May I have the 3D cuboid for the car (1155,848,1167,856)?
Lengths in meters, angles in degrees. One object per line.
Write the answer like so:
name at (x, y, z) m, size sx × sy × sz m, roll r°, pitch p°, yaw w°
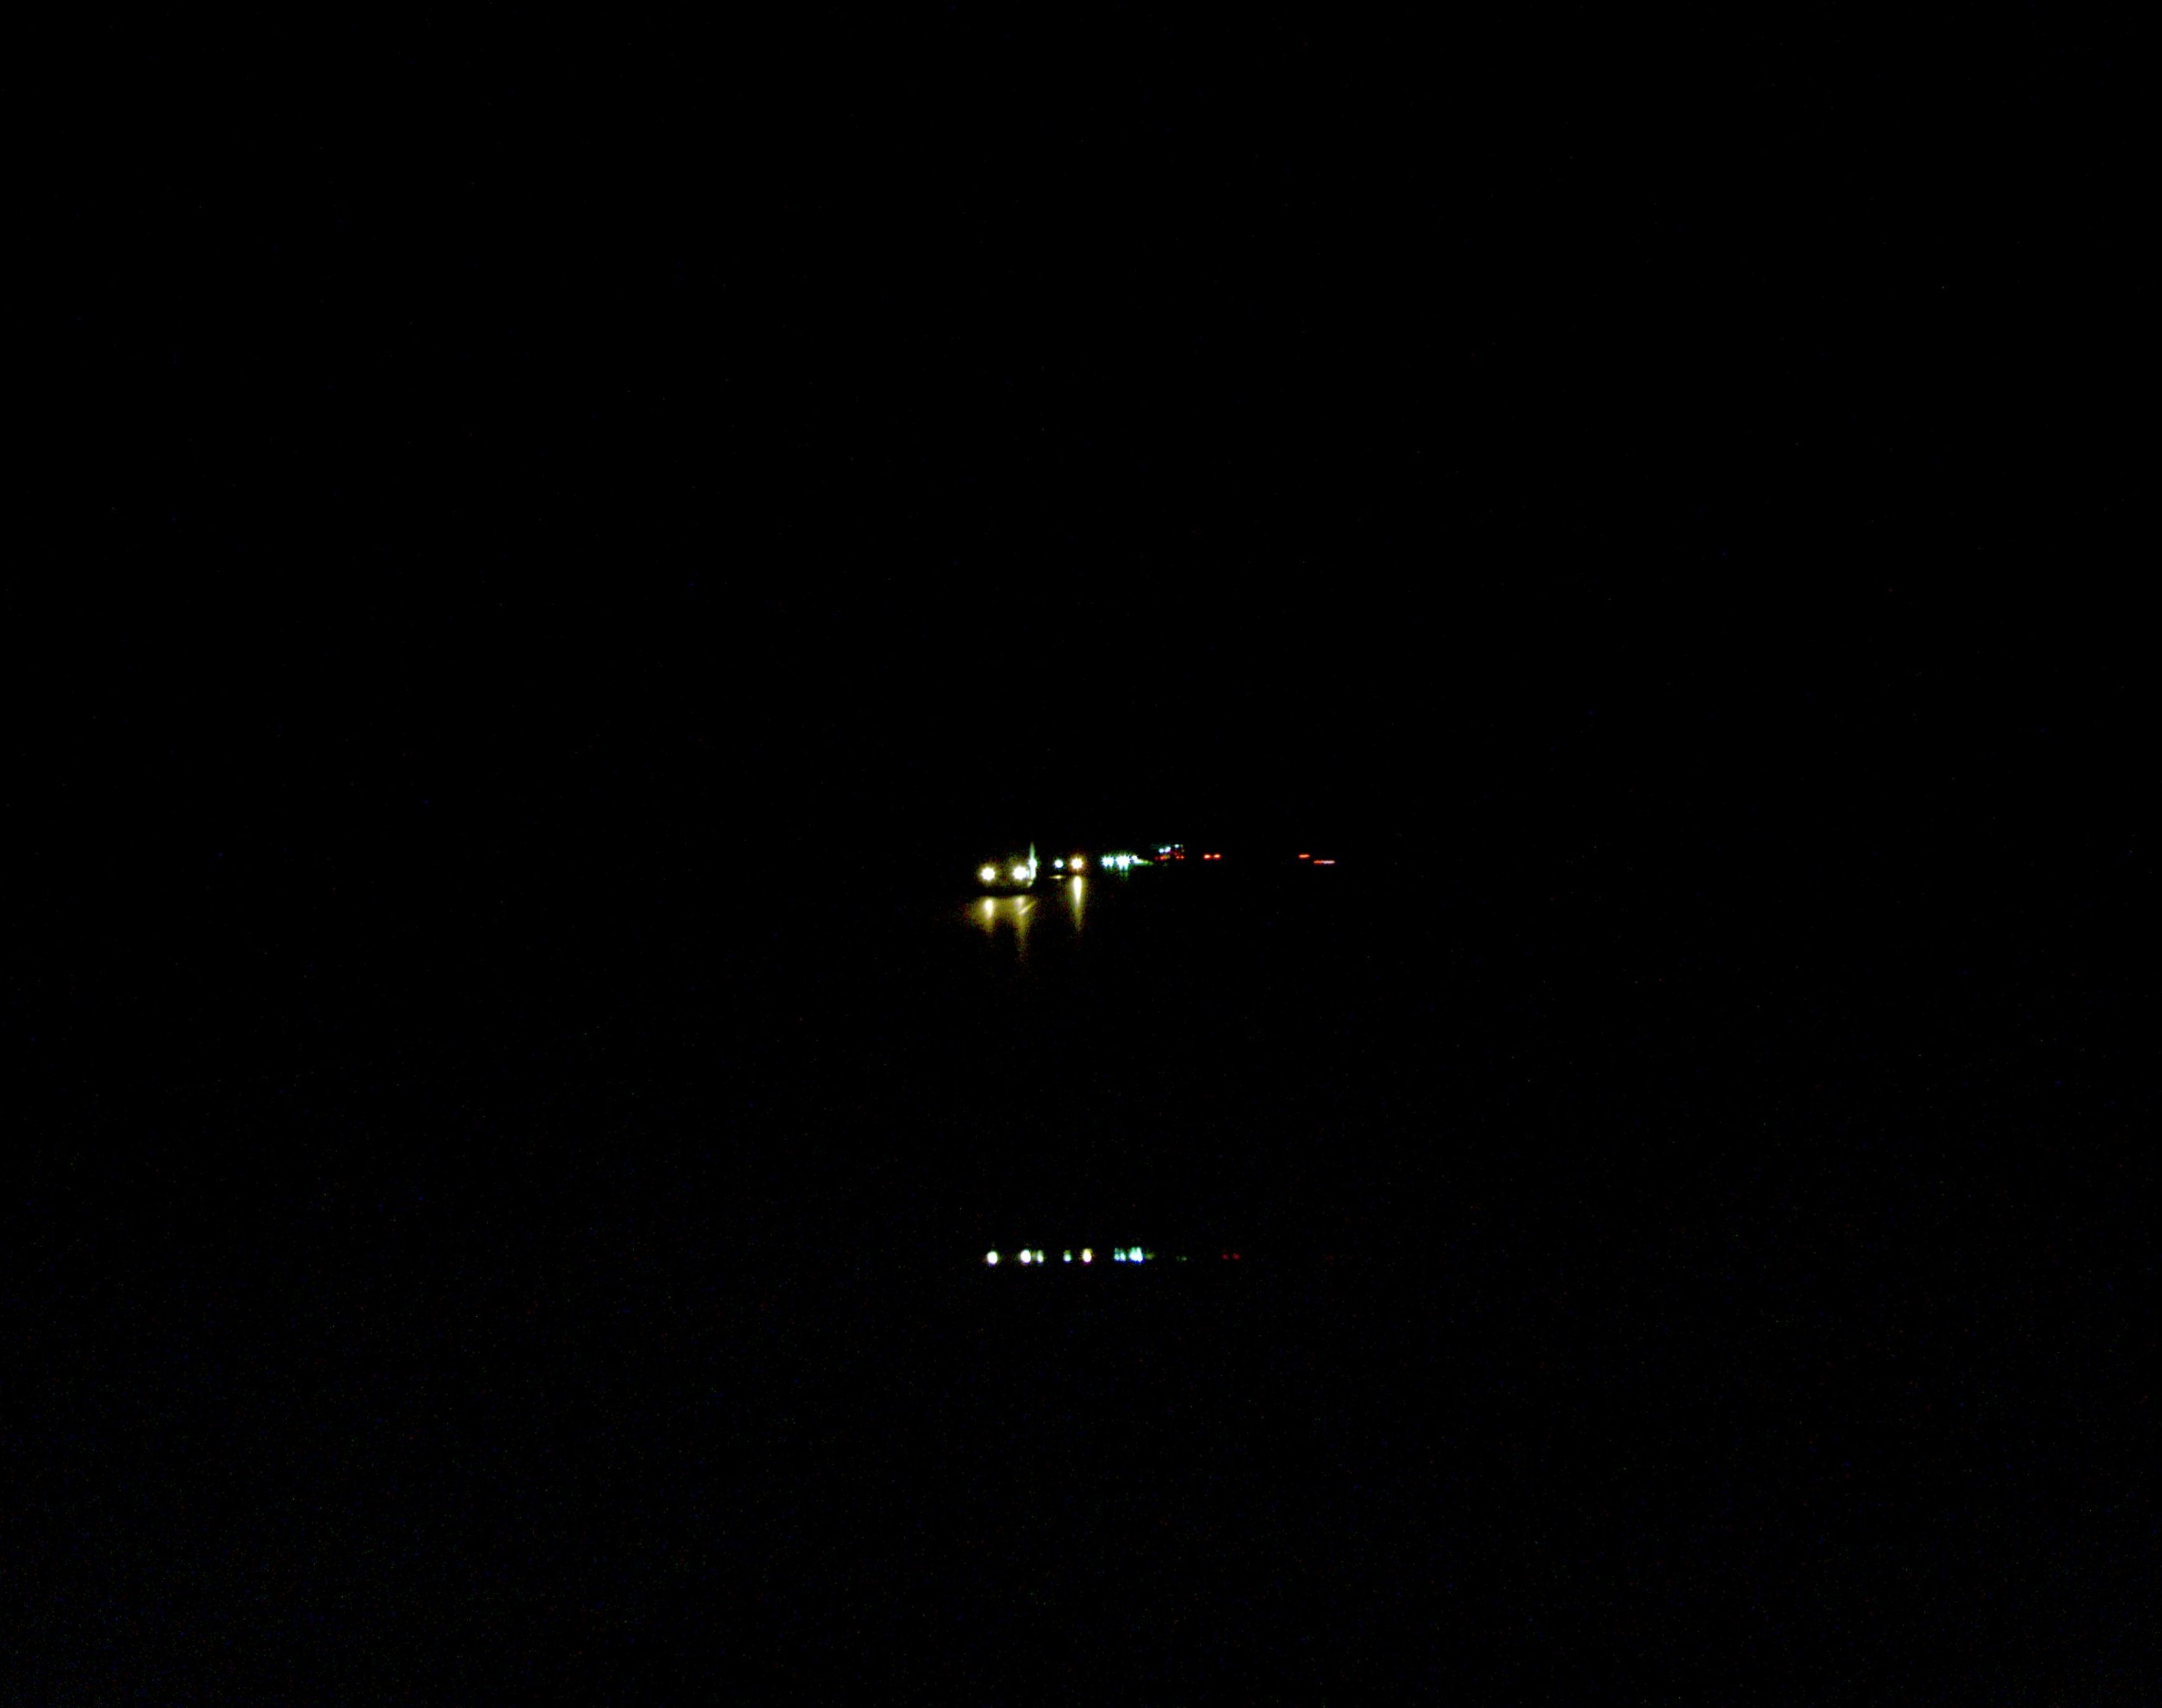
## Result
car at (17.552, -0.364, 167.288) m, size 2.249 × 1.709 × 4.888 m, roll -2°, pitch 0°, yaw 2°

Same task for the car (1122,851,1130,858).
car at (12.235, 0.134, 207.738) m, size 1.998 × 1.734 × 3.999 m, roll -2°, pitch 2°, yaw 2°

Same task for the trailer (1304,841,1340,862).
trailer at (20.593, -0.209, 65.105) m, size 1.901 × 1.736 × 3.845 m, roll -2°, pitch 0°, yaw 1°

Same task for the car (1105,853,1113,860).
car at (7.534, 0.733, 202.242) m, size 1.998 × 1.762 × 3.999 m, roll -2°, pitch 2°, yaw 2°

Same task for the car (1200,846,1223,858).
car at (18.213, -0.268, 106.206) m, size 2.250 × 1.588 × 4.887 m, roll -2°, pitch 0°, yaw 0°

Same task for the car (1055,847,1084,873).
car at (-0.895, 0.483, 64.205) m, size 2.120 × 1.989 × 5.664 m, roll -2°, pitch 0°, yaw 2°

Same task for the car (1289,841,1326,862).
car at (20.671, -0.226, 69.505) m, size 1.918 × 1.736 × 4.881 m, roll -2°, pitch 0°, yaw 0°

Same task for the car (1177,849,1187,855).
car at (28.985, -0.545, 218.090) m, size 2.249 × 1.658 × 4.888 m, roll -2°, pitch 0°, yaw 2°

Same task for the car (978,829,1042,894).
car at (-3.135, 0.307, 34.720) m, size 2.037 × 2.631 × 5.725 m, roll -2°, pitch 0°, yaw 3°
